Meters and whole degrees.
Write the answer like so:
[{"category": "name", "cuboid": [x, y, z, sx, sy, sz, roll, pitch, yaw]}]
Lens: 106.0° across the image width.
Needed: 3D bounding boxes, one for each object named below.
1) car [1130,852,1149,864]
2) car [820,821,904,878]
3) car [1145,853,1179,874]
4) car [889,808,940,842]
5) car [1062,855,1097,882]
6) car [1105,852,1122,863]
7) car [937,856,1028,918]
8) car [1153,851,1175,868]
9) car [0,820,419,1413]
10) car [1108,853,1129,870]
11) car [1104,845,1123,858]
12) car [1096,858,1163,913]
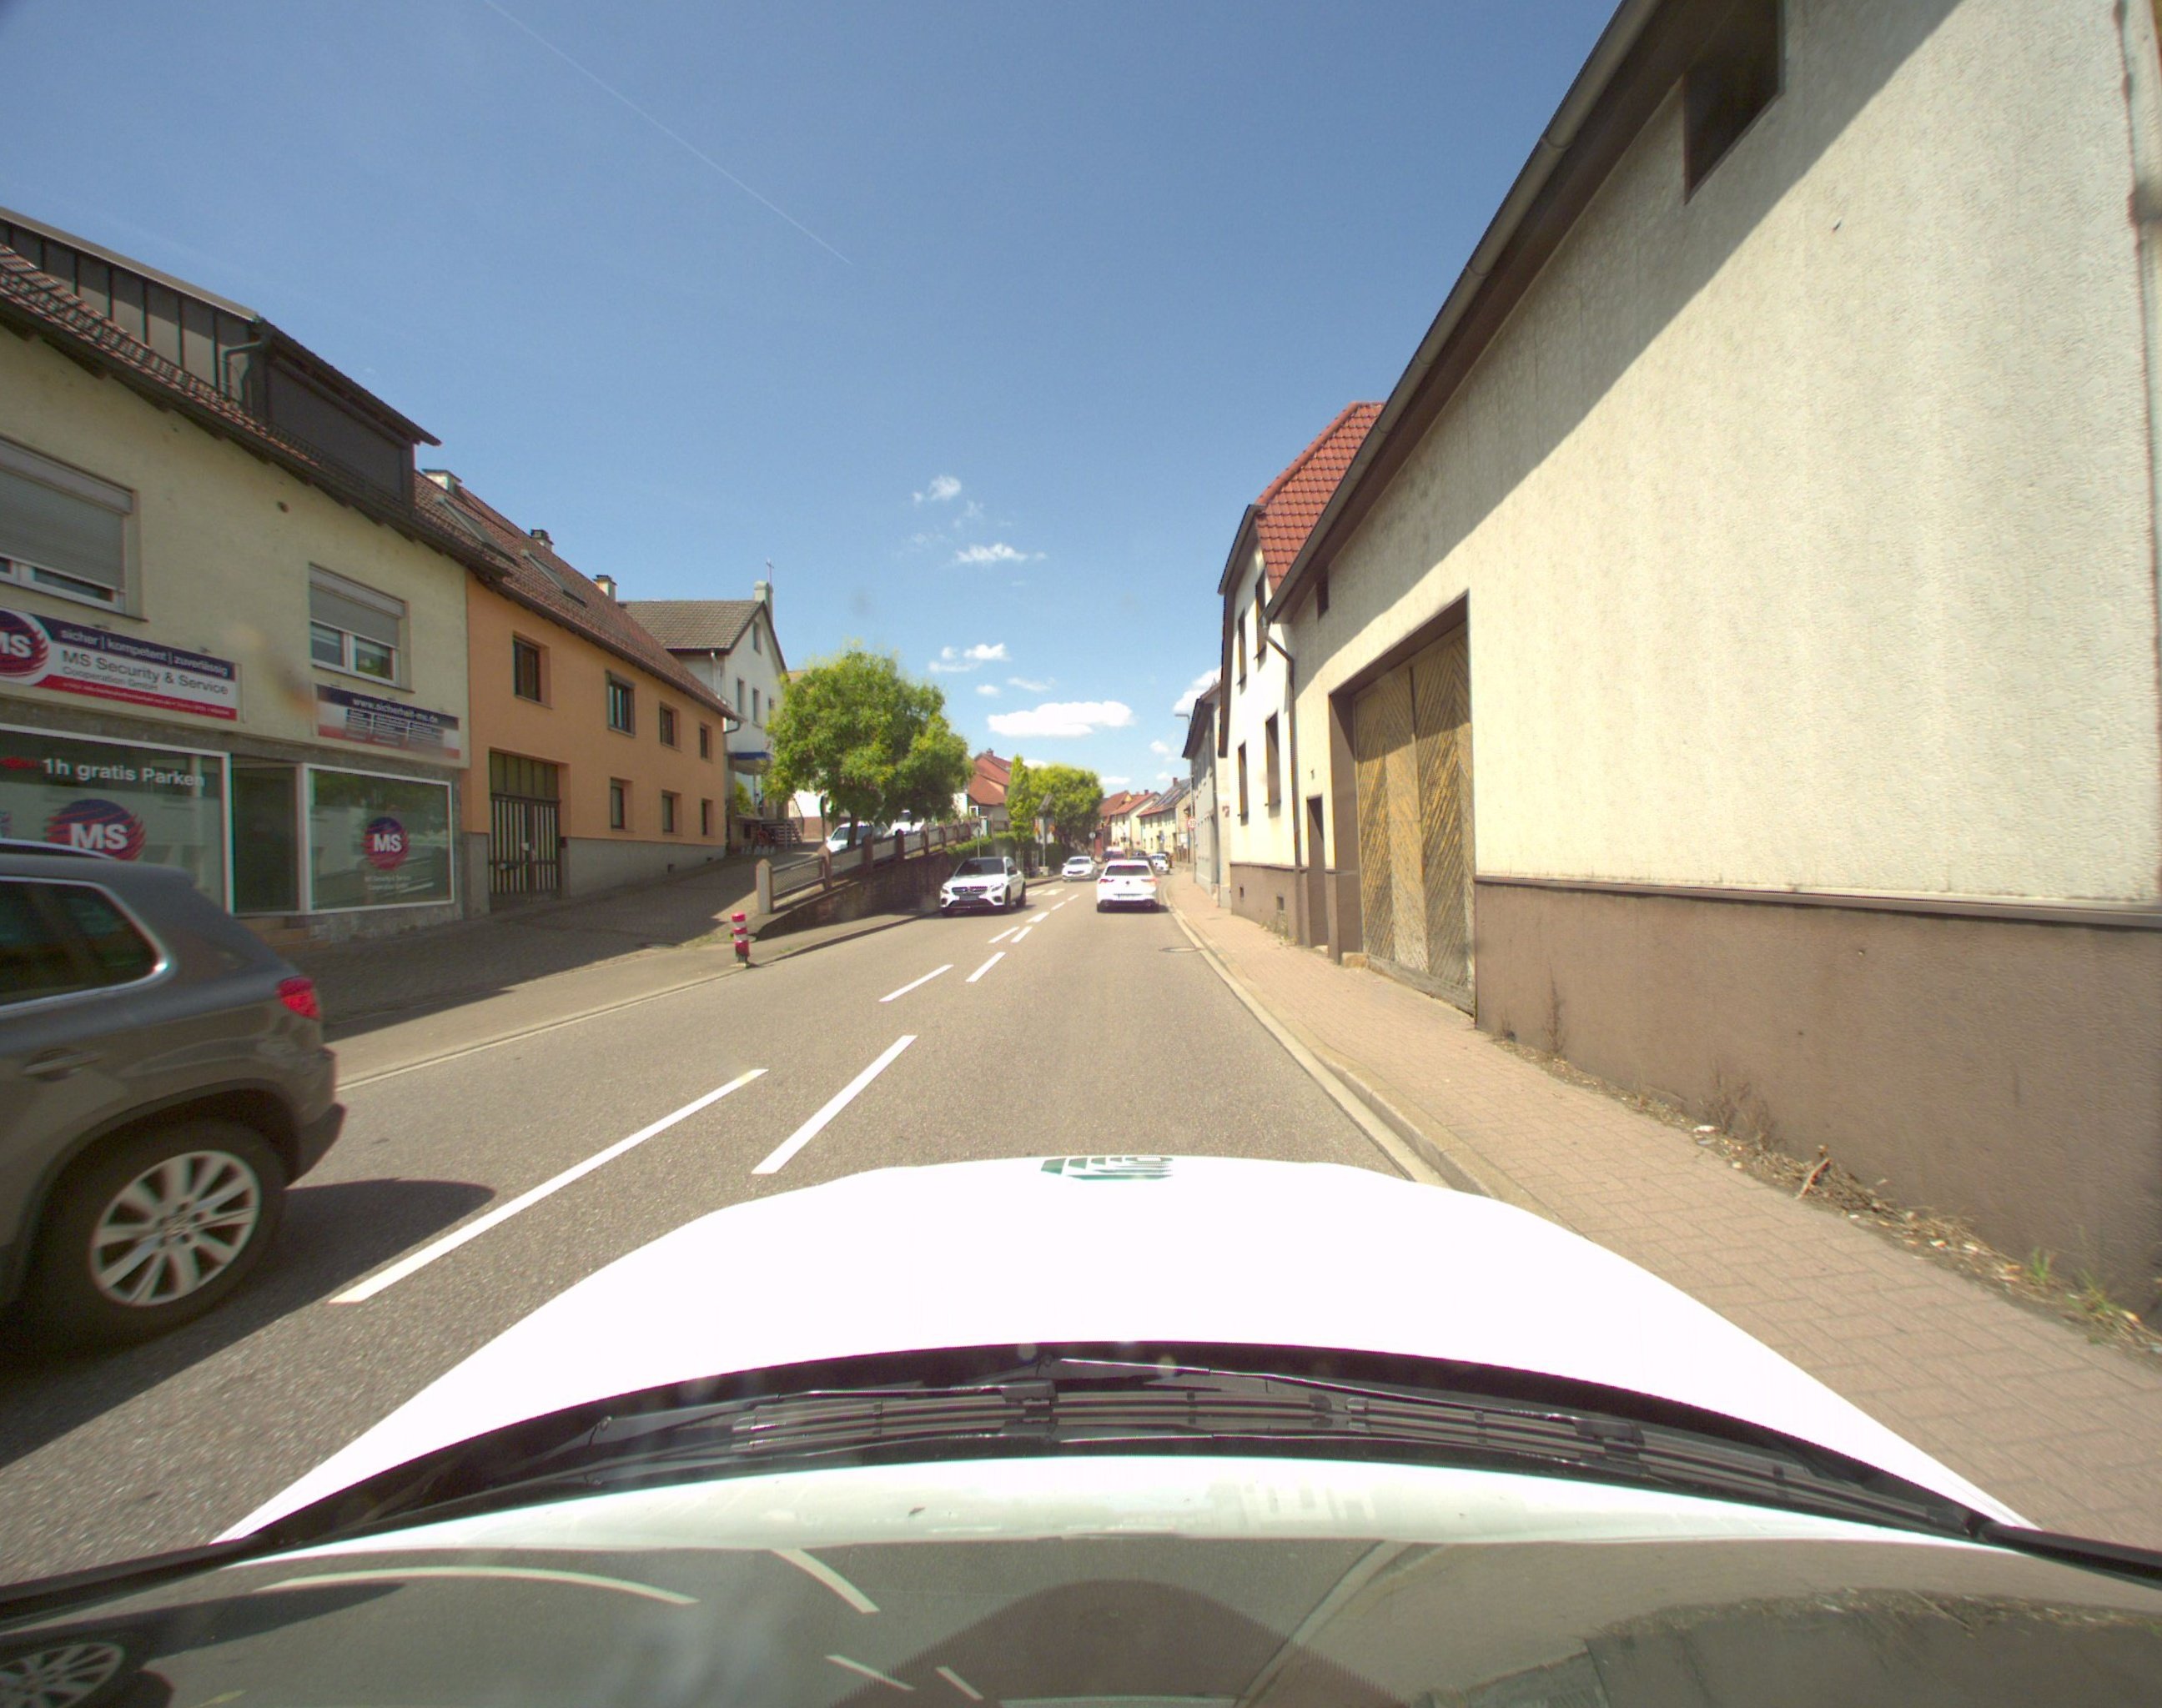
[{"category": "car", "cuboid": [7.461, 0.513, 104.081, 1.772, 1.538, 3.993, -1, 0, -5]}, {"category": "car", "cuboid": [-7.259, -0.221, 27.379, 1.688, 1.542, 3.858, -1, 6, 1]}, {"category": "car", "cuboid": [5.898, 0.677, 59.096, 1.794, 1.467, 4.016, 0, 0, 15]}, {"category": "car", "cuboid": [-8.017, -1.455, 39.448, 1.571, 1.361, 3.858, -1, 6, 1]}, {"category": "car", "cuboid": [-0.063, 0.829, 49.075, 1.805, 1.447, 4.434, -3, 0, 3]}, {"category": "car", "cuboid": [4.193, 0.506, 106.962, 1.790, 1.377, 4.110, -1, 0, -4]}, {"category": "car", "cuboid": [-2.804, 0.897, 24.201, 1.834, 1.580, 4.450, -2, 0, 4]}, {"category": "car", "cuboid": [7.917, 0.462, 77.067, 1.765, 1.538, 4.011, -1, 0, 10]}, {"category": "car", "cuboid": [-3.922, 0.755, 1.583, 1.750, 1.635, 4.053, -2, 0, 3]}, {"category": "car", "cuboid": [3.567, 0.708, 76.424, 1.609, 1.444, 3.808, -3, 0, 6]}, {"category": "car", "cuboid": [4.743, -0.345, 118.822, 1.777, 1.765, 3.982, -1, 0, -13]}, {"category": "car", "cuboid": [1.398, 0.854, 23.856, 1.800, 1.467, 4.003, 0, 0, 3]}]
